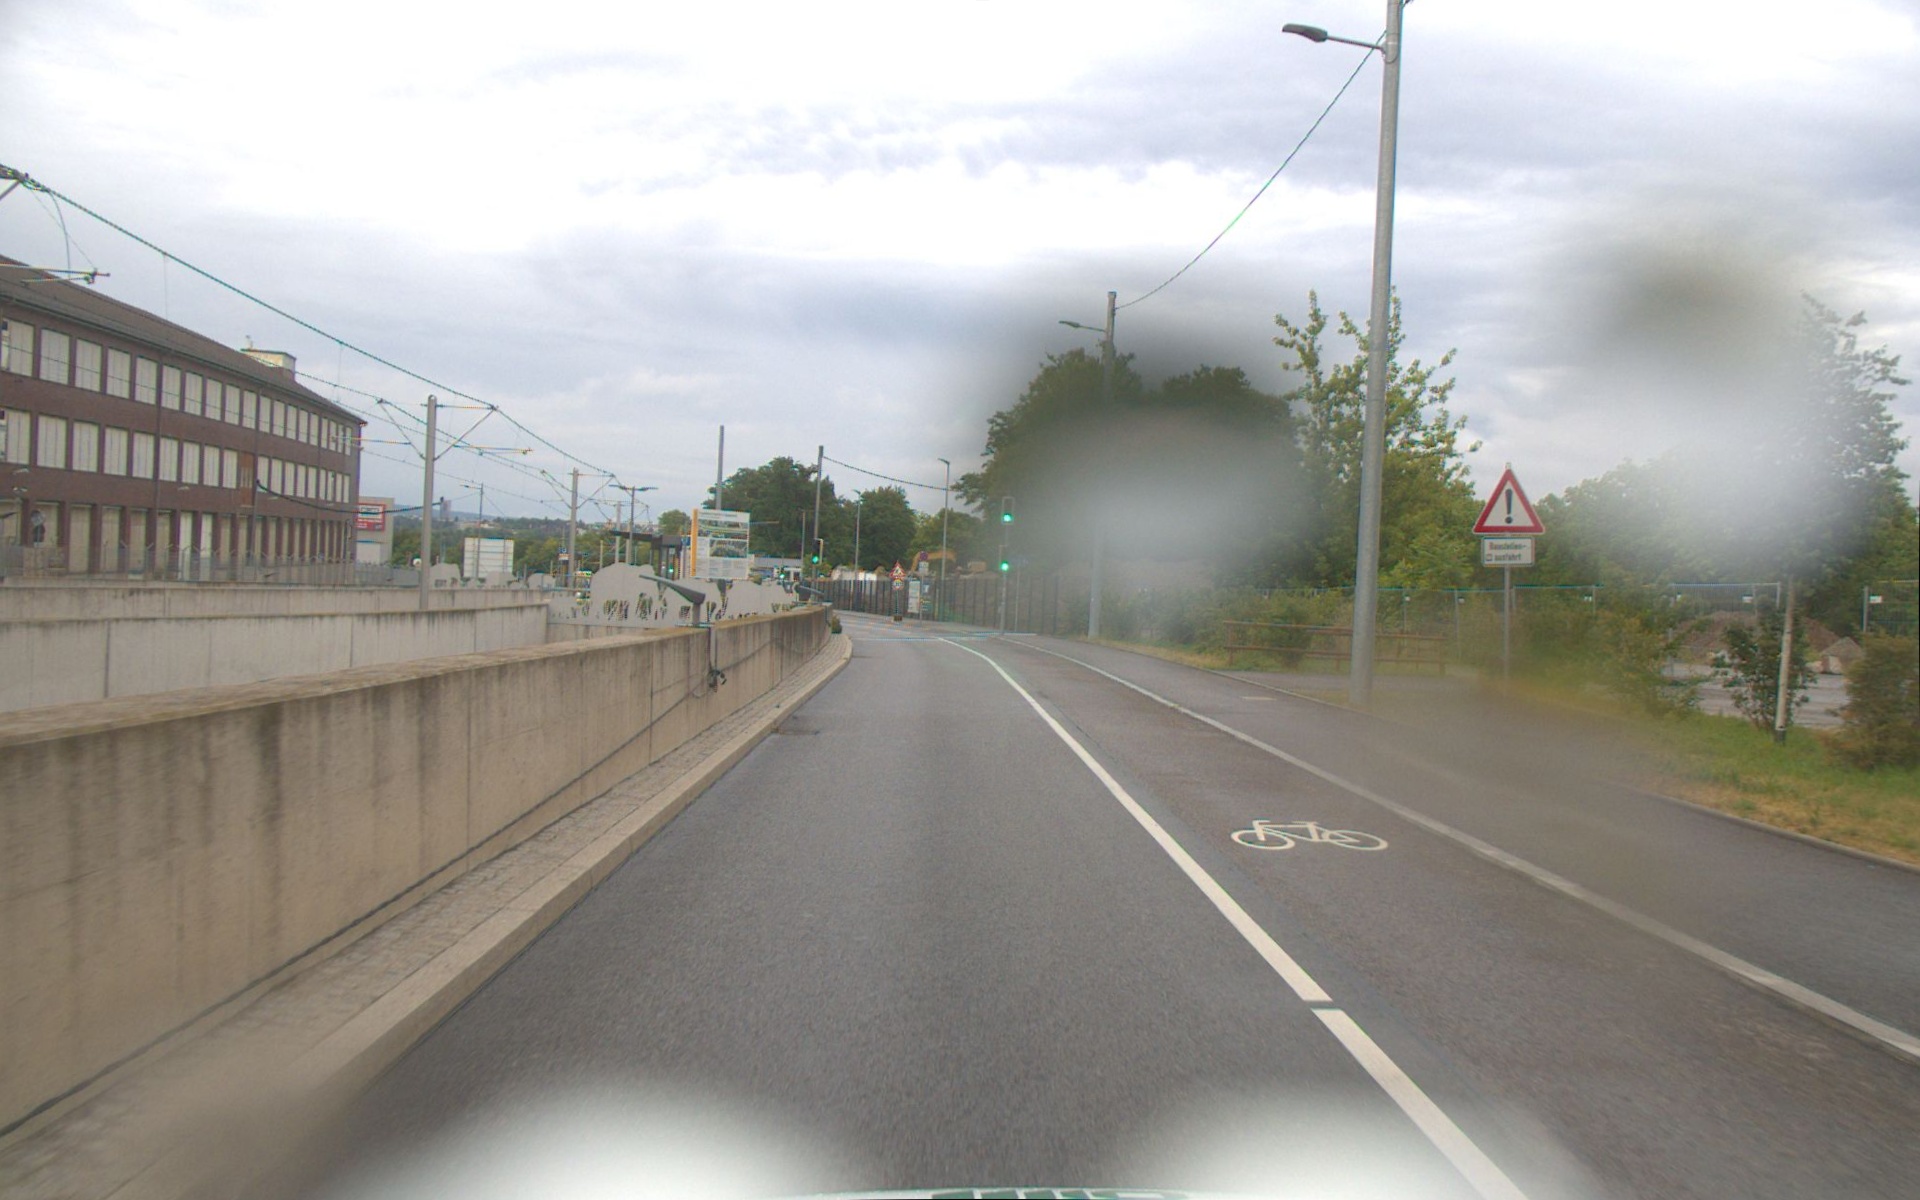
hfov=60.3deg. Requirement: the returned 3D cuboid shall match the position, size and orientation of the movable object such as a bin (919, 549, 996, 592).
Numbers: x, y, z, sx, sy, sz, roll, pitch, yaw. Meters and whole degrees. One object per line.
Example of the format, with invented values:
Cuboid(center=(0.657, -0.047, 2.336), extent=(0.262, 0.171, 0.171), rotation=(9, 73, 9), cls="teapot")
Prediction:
Cuboid(center=(-0.337, -4.284, 244.103), extent=(11.014, 6.100, 3.487), rotation=(1, 0, -6), cls="movable object such as a bin")
